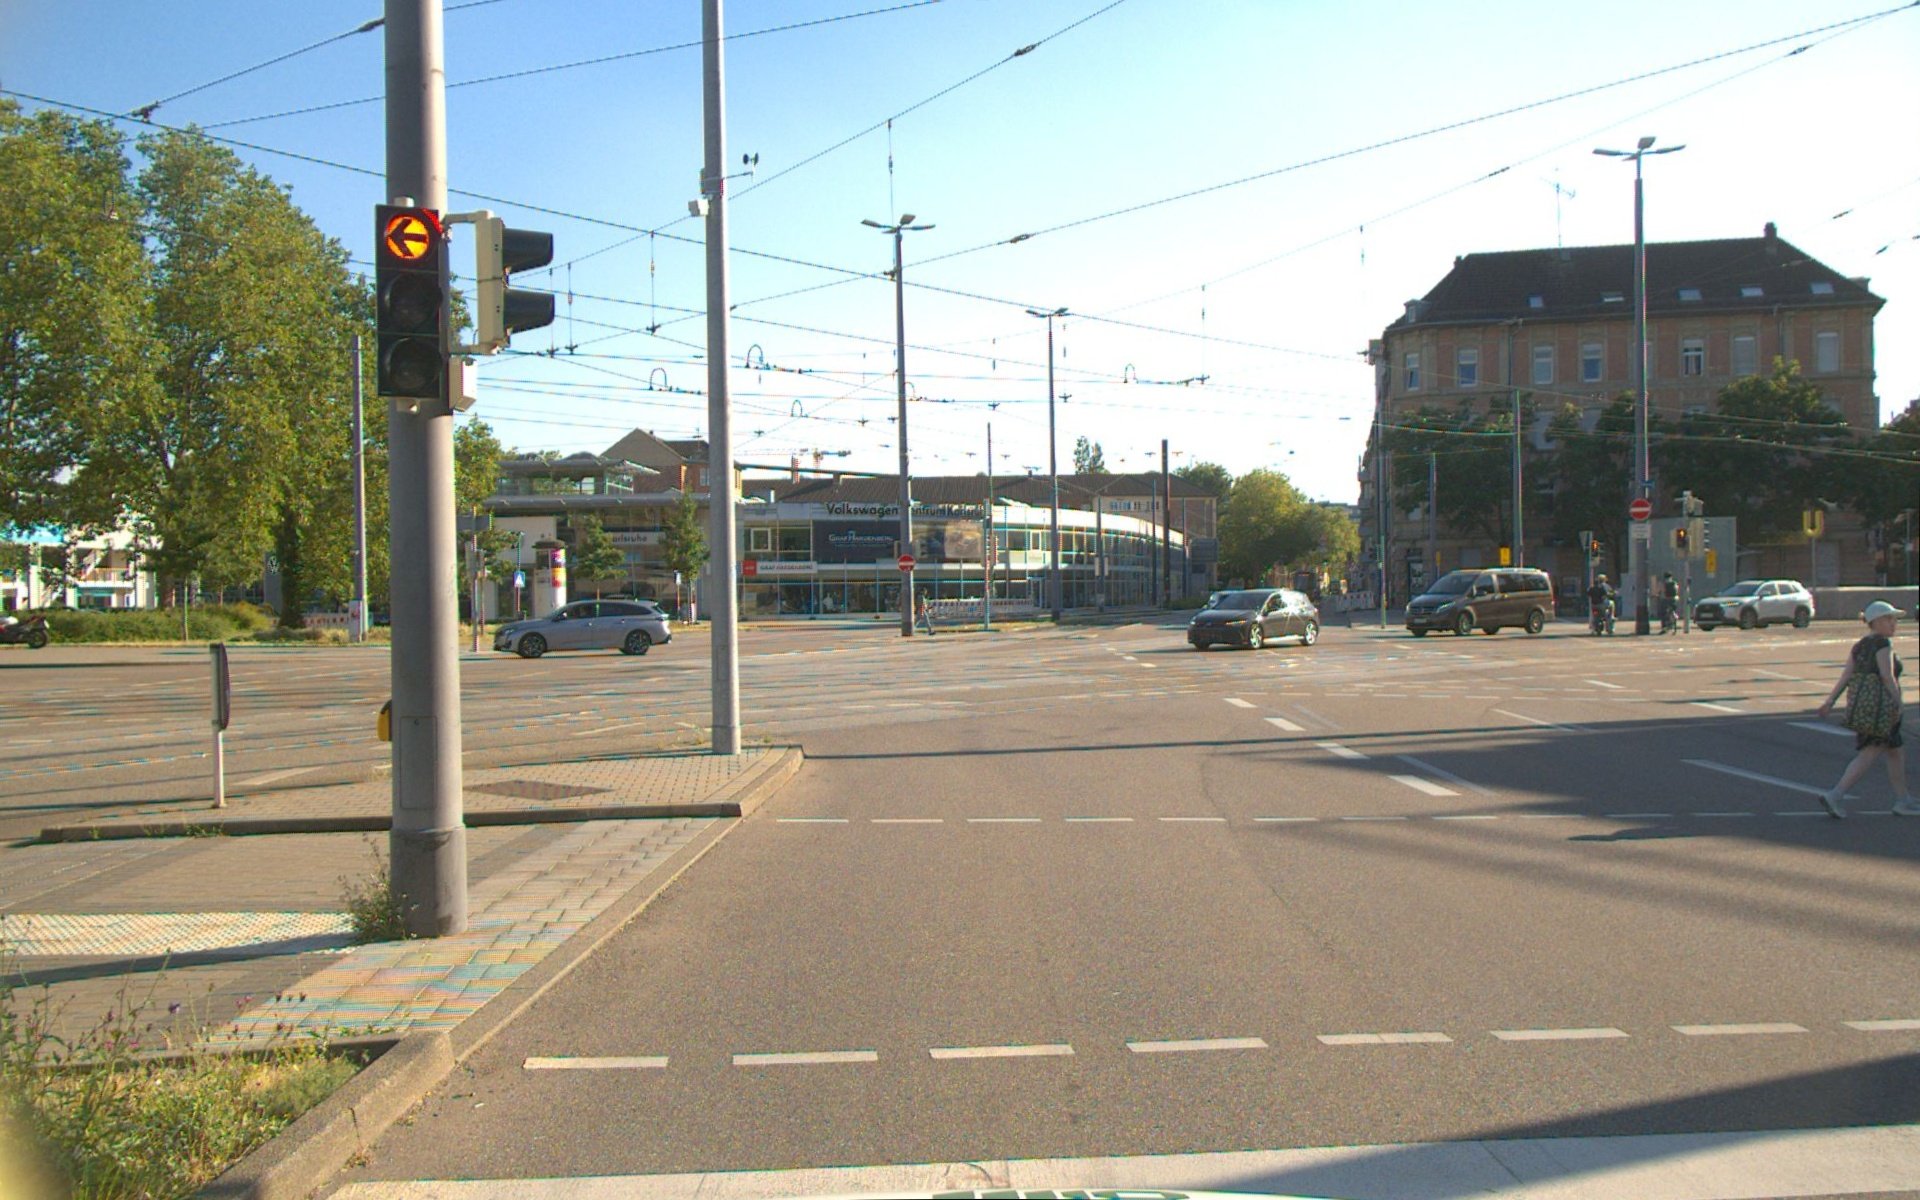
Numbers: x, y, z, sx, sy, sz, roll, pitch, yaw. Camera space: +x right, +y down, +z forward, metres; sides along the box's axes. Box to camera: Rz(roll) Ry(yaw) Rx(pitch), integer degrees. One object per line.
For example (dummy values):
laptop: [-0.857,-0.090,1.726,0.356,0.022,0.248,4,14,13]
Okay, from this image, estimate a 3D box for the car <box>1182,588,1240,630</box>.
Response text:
car: [9.997,0.335,66.256,1.906,1.622,4.619,-1,0,4]

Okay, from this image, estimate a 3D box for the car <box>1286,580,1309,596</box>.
car: [38.329,-1.362,188.000,1.765,1.684,3.917,0,2,-2]

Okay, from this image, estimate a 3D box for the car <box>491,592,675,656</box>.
car: [-9.931,0.609,43.541,4.481,1.544,1.940,-1,0,-23]

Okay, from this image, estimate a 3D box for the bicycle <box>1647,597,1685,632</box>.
bicycle: [20.876,0.410,48.951,0.839,0.921,2.305,1,2,19]

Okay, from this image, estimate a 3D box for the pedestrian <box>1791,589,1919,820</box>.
pedestrian: [6.905,0.746,12.306,1.073,1.634,0.697,0,2,-11]

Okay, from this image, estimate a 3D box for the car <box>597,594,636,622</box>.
car: [-20.825,0.473,100.428,1.955,1.561,3.995,0,2,-6]

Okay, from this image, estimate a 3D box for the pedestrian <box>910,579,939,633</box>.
pedestrian: [-1.231,0.209,57.532,0.969,1.847,0.920,0,2,-3]

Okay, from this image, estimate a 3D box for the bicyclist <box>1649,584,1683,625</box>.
bicyclist: [20.865,0.127,48.903,0.839,1.197,0.715,1,2,18]

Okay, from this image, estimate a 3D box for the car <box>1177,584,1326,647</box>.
car: [7.473,0.364,42.127,1.918,1.512,4.079,-1,0,41]

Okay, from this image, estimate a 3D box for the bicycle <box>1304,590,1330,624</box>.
bicycle: [19.702,0.368,91.233,1.111,1.719,4.003,1,2,16]

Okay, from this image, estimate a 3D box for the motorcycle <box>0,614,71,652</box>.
motorcycle: [-28.213,0.993,50.011,2.246,1.072,0.685,0,2,-14]

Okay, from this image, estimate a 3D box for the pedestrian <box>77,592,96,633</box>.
pedestrian: [-44.263,0.629,83.832,0.576,2.049,0.710,-1,0,-1]

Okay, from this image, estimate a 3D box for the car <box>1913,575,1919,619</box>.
car: [36.808,-0.111,59.835,4.288,1.590,1.937,-1,2,-25]

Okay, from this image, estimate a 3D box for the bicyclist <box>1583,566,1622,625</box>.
bicyclist: [19.010,-0.154,48.951,0.643,1.720,0.851,-1,2,-32]

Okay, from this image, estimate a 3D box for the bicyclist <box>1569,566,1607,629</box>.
bicyclist: [18.454,-0.076,48.629,0.577,1.809,0.858,-1,0,-31]

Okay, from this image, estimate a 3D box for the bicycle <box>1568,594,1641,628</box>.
bicycle: [19.118,0.320,49.033,2.274,0.921,0.851,-1,2,-32]

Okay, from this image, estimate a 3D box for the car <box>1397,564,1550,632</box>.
car: [15.469,-0.085,49.712,4.797,1.926,1.929,-1,0,-36]

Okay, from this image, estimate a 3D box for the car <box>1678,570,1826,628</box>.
car: [26.417,-0.050,55.138,4.776,1.830,1.937,-1,0,-27]

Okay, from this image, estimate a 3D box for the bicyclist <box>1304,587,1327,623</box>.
bicyclist: [19.605,0.287,91.209,1.095,1.933,1.074,1,2,17]
